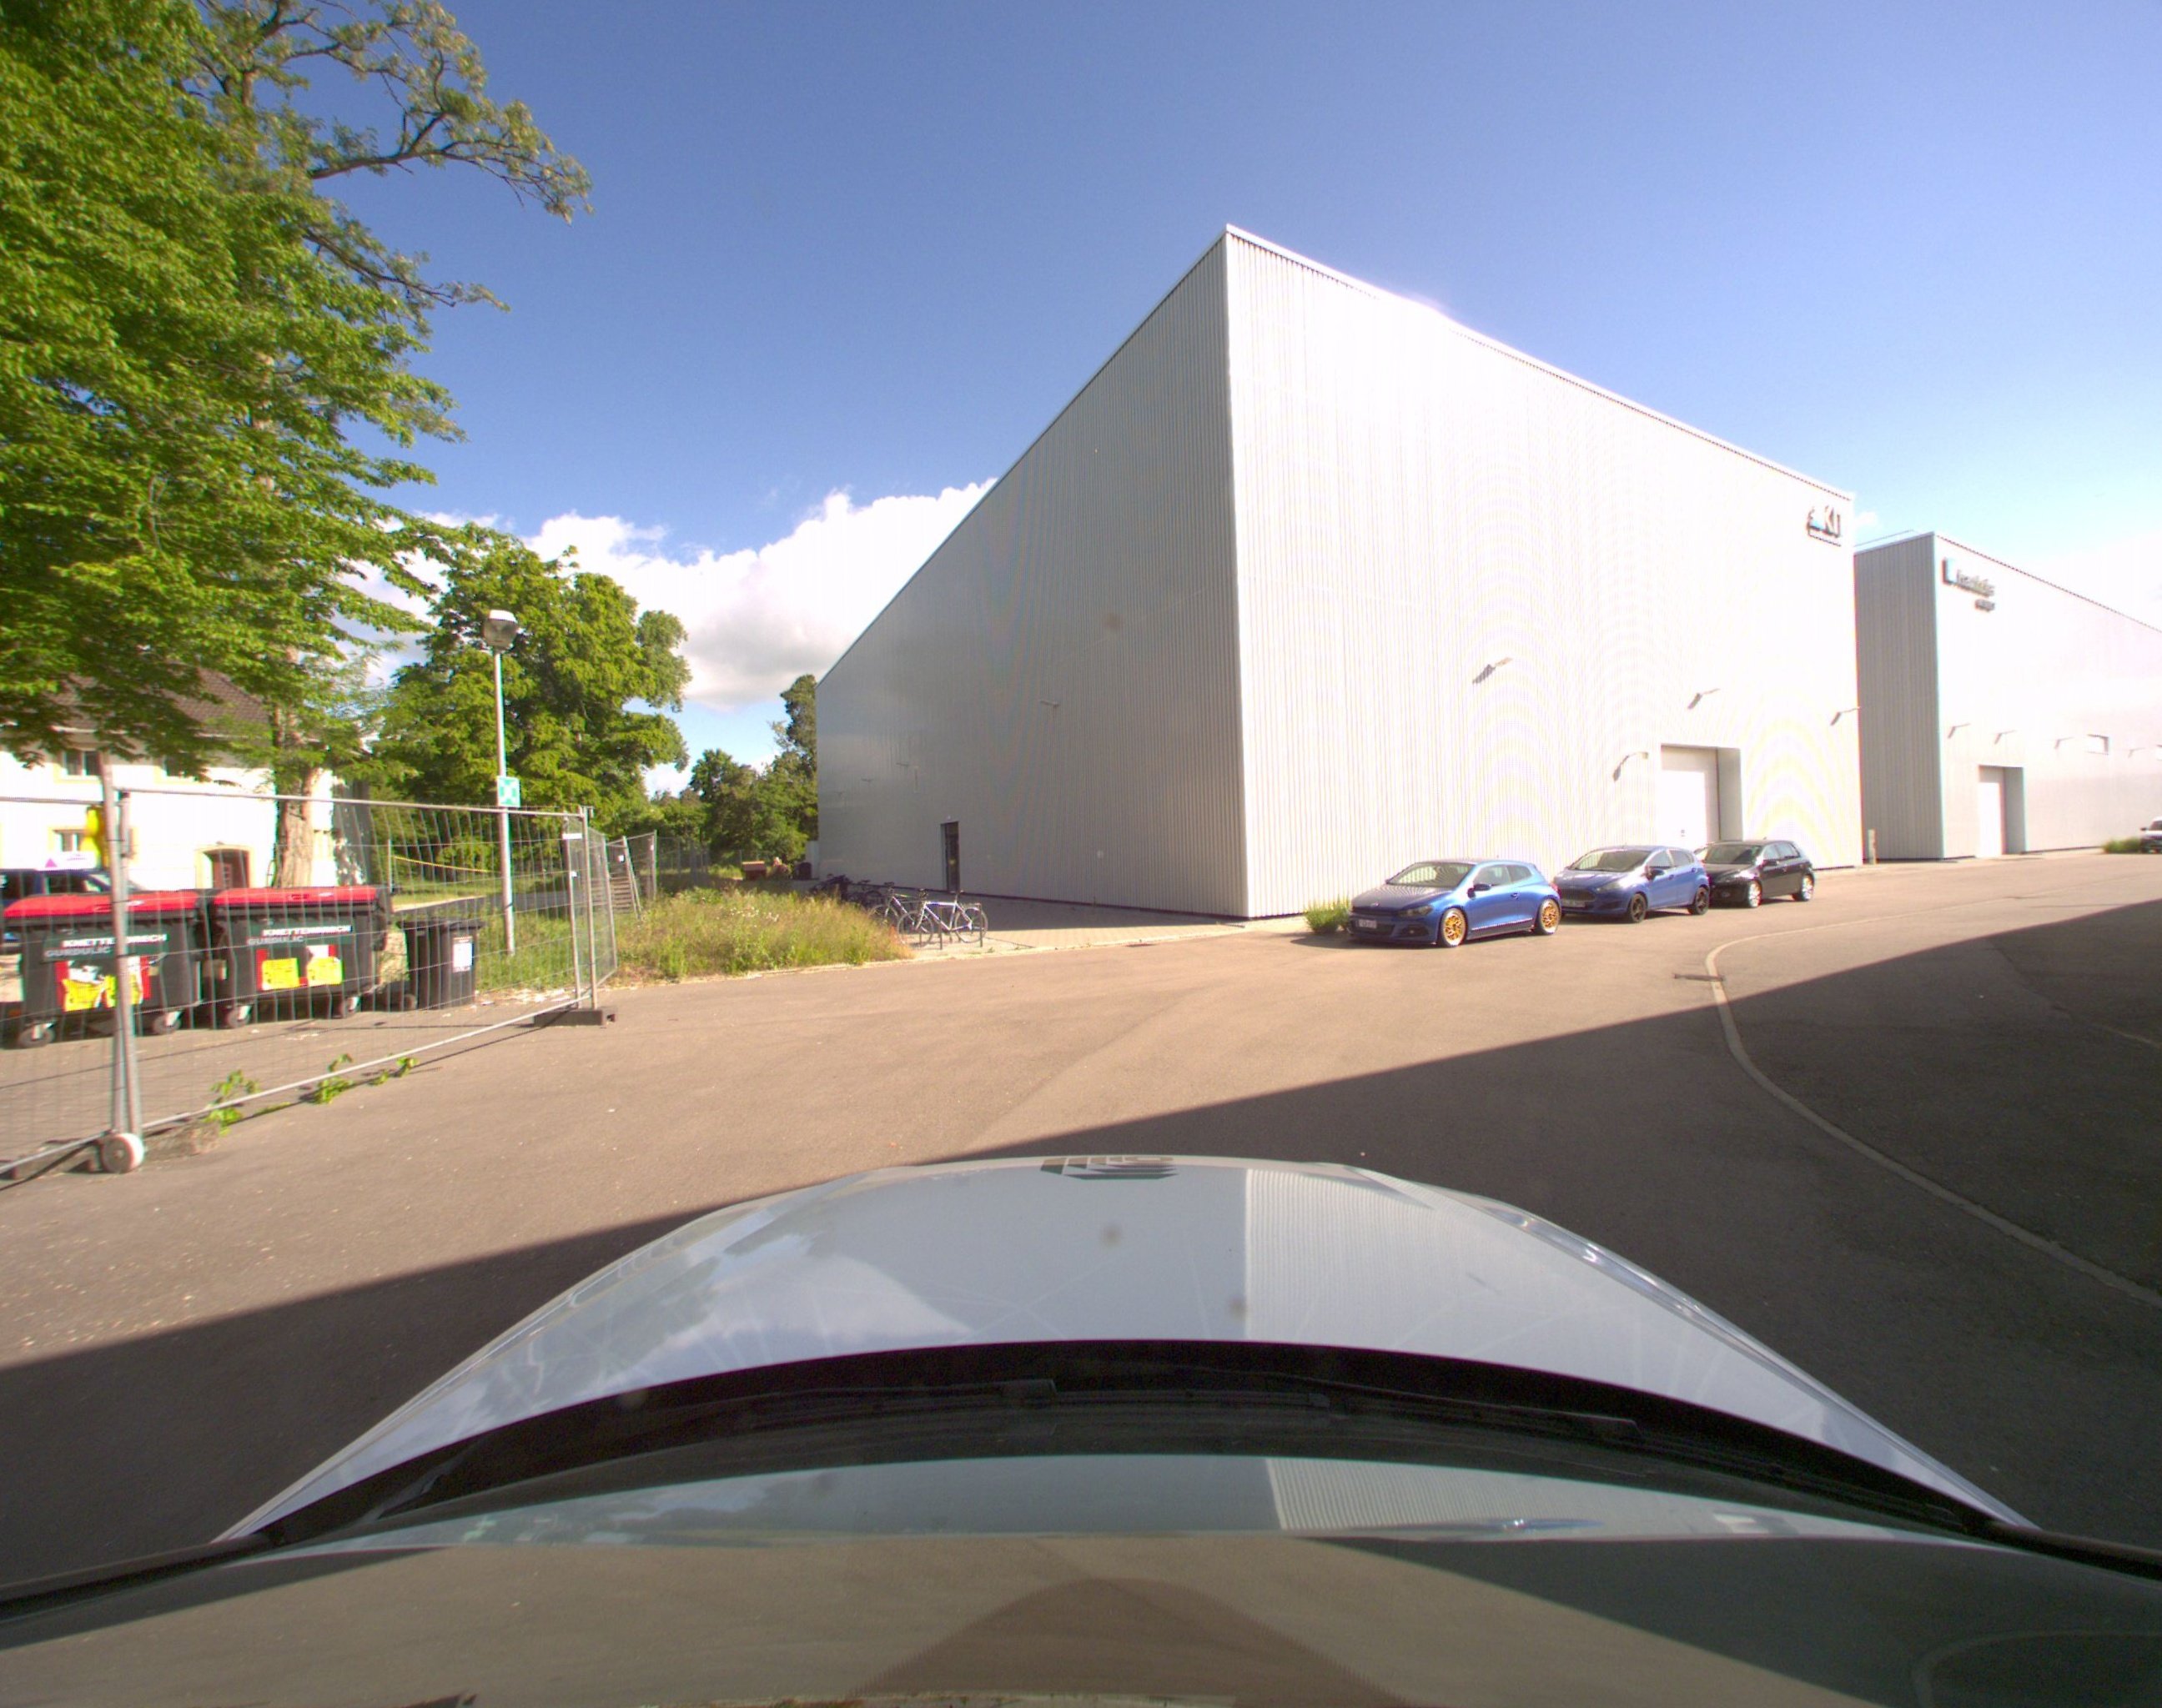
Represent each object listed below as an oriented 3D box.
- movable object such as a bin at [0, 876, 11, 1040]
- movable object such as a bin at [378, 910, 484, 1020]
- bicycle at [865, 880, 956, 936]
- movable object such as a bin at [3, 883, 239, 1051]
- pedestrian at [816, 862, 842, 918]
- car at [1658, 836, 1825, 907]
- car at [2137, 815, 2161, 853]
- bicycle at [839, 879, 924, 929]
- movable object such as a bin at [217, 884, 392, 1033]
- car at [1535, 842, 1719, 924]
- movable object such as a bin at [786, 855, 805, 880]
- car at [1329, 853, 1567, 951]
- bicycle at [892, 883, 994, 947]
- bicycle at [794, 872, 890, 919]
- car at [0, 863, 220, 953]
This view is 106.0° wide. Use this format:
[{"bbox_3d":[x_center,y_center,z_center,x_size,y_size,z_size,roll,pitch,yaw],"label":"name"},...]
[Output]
[{"bbox_3d":[-11.245,1.031,6.935,2.305,1.591,1.162,-1,0,-34],"label":"movable object such as a bin"},{"bbox_3d":[-7.355,1.225,9.263,0.740,1.097,0.812,-2,0,-25],"label":"movable object such as a bin"},{"bbox_3d":[-3.644,1.139,17.444,1.801,1.082,0.520,-2,0,-27],"label":"bicycle"},{"bbox_3d":[-9.550,1.062,8.189,1.347,1.484,0.798,-1,0,-35],"label":"movable object such as a bin"},{"bbox_3d":[-7.855,1.112,25.403,0.508,1.728,0.636,-2,0,6],"label":"pedestrian"},{"bbox_3d":[15.424,0.331,18.991,3.888,1.446,1.641,-1,3,-28],"label":"car"},{"bbox_3d":[53.189,-1.011,39.497,4.012,1.794,1.896,-2,0,-30],"label":"car"},{"bbox_3d":[-4.802,1.182,19.694,1.899,1.095,0.521,-2,-1,-30],"label":"bicycle"},{"bbox_3d":[-8.383,1.080,8.863,1.253,1.444,0.695,-1,-1,-34],"label":"movable object such as a bin"},{"bbox_3d":[11.157,0.519,16.600,3.776,1.447,1.609,-2,1,-30],"label":"car"},{"bbox_3d":[-23.664,1.140,67.479,1.425,2.013,1.116,-2,0,-24],"label":"movable object such as a bin"},{"bbox_3d":[6.275,0.713,13.827,3.965,1.350,1.658,-2,1,-29],"label":"car"},{"bbox_3d":[-2.543,1.104,15.144,1.812,1.062,0.454,-2,0,-33],"label":"bicycle"},{"bbox_3d":[-7.247,1.232,24.719,2.642,1.266,1.132,-2,0,-24],"label":"bicycle"},{"bbox_3d":[-24.182,1.254,19.341,4.742,1.902,1.980,-2,0,-33],"label":"car"}]
